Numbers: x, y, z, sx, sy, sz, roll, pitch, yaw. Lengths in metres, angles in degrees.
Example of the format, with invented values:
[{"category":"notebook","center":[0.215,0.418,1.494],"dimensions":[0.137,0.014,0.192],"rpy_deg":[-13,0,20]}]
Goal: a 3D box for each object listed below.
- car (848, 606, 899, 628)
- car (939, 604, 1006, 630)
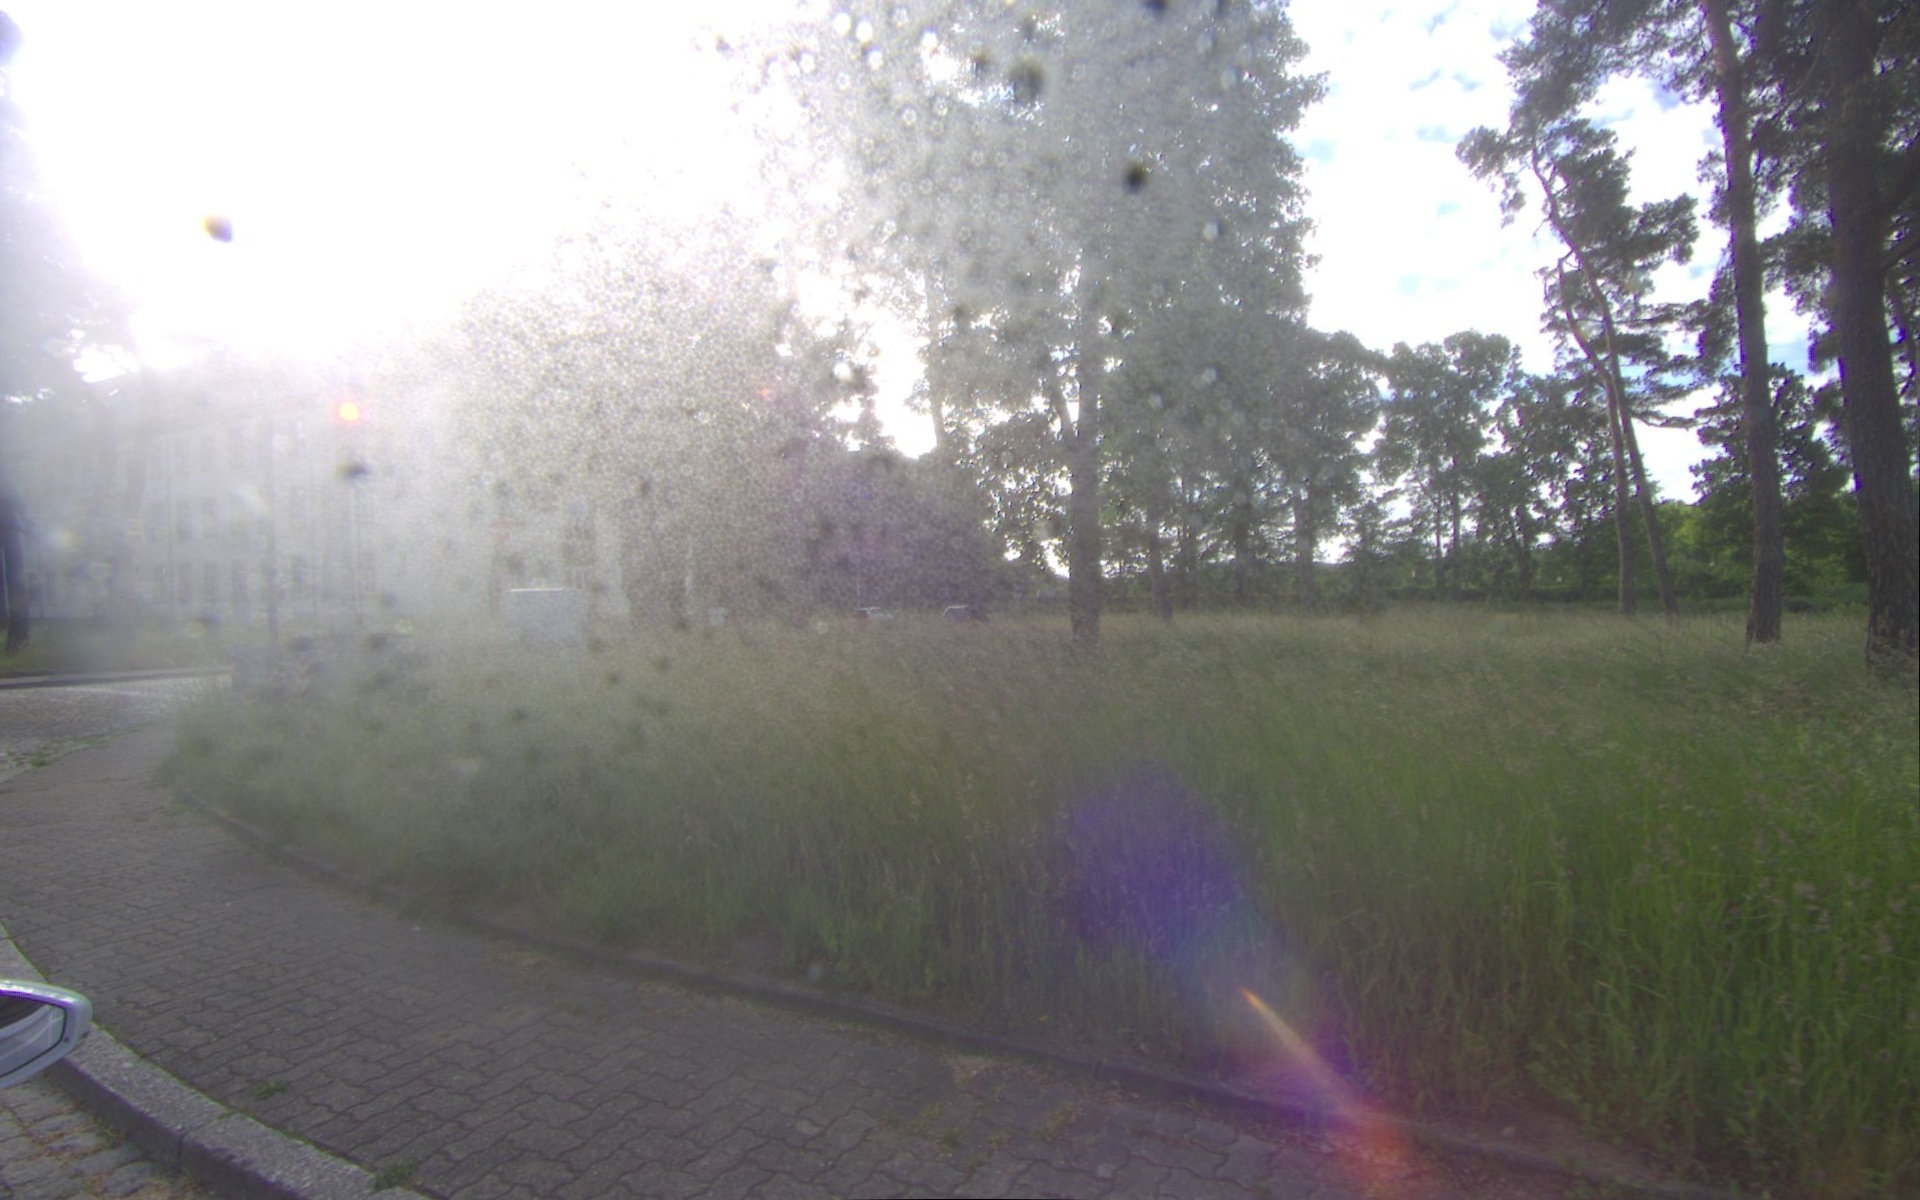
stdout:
[{"category":"car","center":[-5.860,1.177,68.140],"dimensions":[1.539,1.415,3.985],"rpy_deg":[-1,-2,29]},{"category":"car","center":[0.777,1.051,63.110],"dimensions":[3.924,1.622,1.999],"rpy_deg":[0,0,-8]}]
